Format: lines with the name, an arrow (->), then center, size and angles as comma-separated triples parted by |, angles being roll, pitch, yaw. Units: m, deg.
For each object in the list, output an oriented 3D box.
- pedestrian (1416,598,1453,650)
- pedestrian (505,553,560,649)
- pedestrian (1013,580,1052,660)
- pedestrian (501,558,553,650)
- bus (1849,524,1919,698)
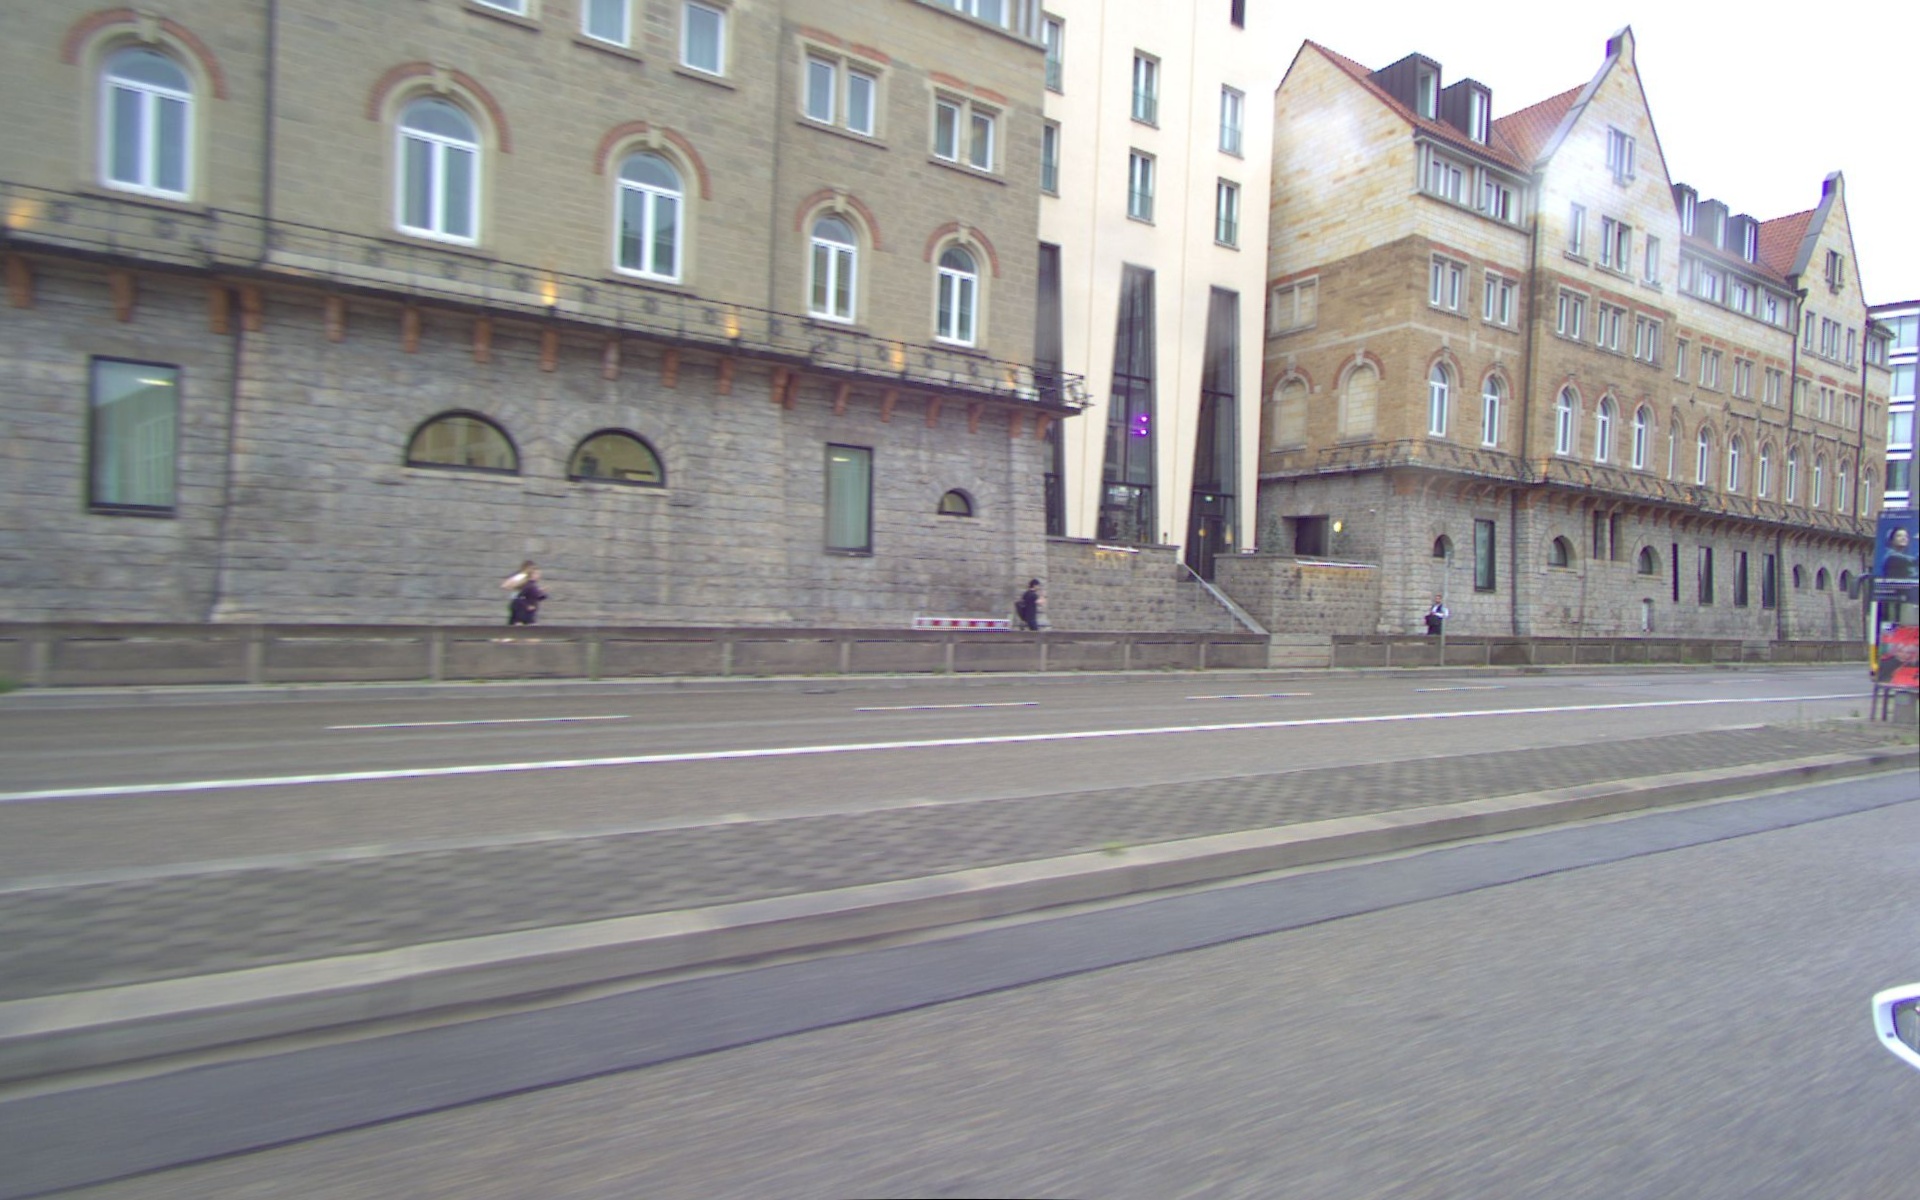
pedestrian -> 14.055, 0.692, 29.757 | 0.706, 1.497, 0.750 | -1, 0, -31
pedestrian -> -6.866, 0.015, 16.119 | 0.706, 1.497, 0.750 | -1, 0, -31
pedestrian -> 1.632, 0.445, 22.736 | 0.616, 1.769, 0.634 | -1, 1, -42
pedestrian -> -7.275, 0.067, 16.849 | 0.706, 1.497, 0.750 | -1, 0, -31
bus -> 24.241, 0.346, 23.239 | 9.978, 3.606, 2.684 | 2, -1, -31
